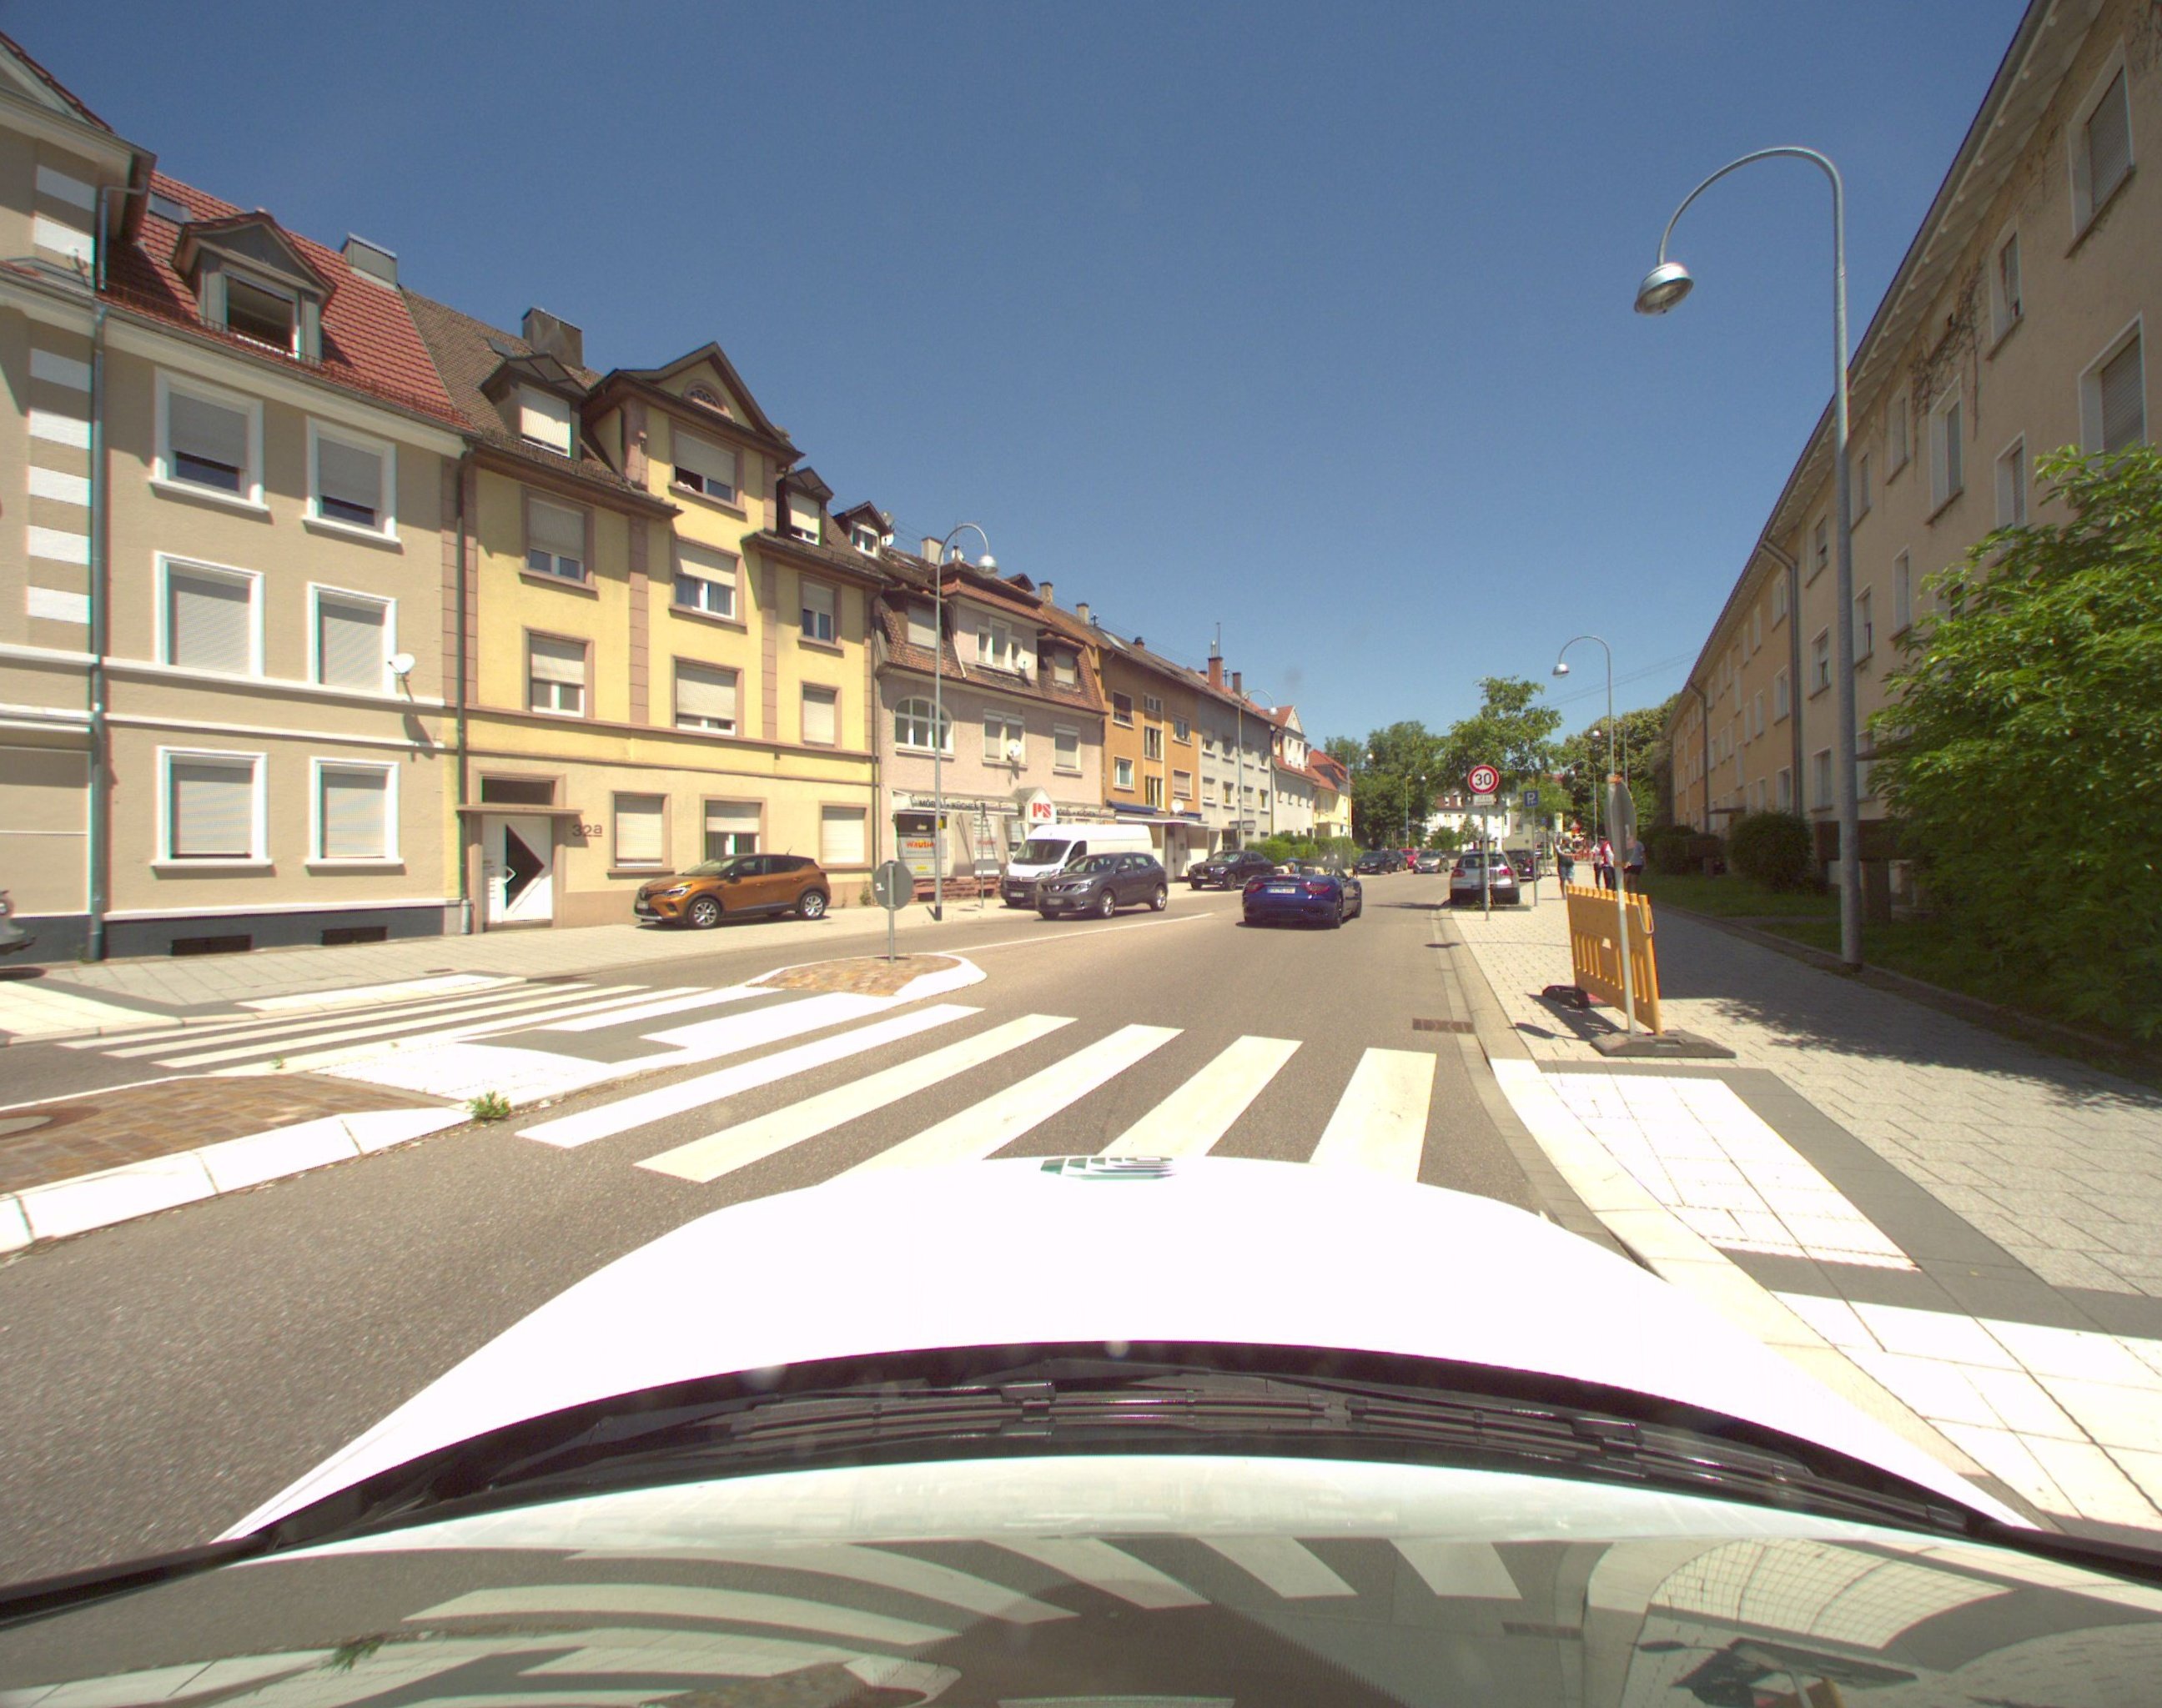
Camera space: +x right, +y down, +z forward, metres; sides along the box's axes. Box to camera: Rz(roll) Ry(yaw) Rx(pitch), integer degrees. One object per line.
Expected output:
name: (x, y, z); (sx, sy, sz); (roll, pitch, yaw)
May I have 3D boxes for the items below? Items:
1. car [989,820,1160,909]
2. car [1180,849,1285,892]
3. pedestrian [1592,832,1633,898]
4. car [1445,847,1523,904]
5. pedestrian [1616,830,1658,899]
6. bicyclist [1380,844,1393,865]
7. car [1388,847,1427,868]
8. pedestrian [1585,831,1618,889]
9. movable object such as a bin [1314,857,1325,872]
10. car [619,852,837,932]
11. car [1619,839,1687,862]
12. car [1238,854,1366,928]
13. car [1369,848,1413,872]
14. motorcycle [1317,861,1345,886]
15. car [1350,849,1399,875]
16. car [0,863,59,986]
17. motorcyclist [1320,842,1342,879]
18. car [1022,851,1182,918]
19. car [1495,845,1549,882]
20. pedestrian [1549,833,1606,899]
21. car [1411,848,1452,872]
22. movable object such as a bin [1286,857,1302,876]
car: (0.003, 0.243, 25.398); (2.098, 2.449, 6.157); (1, 1, 35)
car: (6.497, 0.637, 34.559); (2.065, 1.614, 5.140); (1, 1, 41)
pedestrian: (15.140, 0.313, 23.216); (0.780, 1.811, 1.012); (-4, -2, 28)
car: (11.776, 0.607, 23.682); (1.796, 1.477, 4.534); (-2, -1, 28)
pedestrian: (14.632, 0.270, 21.456); (0.786, 1.778, 1.015); (-2, -1, 28)
bicyclist: (25.100, 0.037, 66.936); (0.774, 1.659, 0.840); (-2, -1, 30)
car: (24.823, 0.244, 61.823); (1.860, 1.479, 4.768); (2, 2, 32)
pedestrian: (16.946, 0.195, 26.534); (0.812, 1.853, 0.990); (-2, -1, 28)
movable object such as a bin: (15.322, 0.657, 52.294); (0.489, 0.912, 0.710); (-2, 0, 32)
car: (-7.770, 0.746, 18.282); (1.777, 1.541, 4.142); (0, 1, 36)
car: (46.443, -0.269, 66.209); (4.298, 1.838, 1.760); (1, 0, 24)
car: (4.877, 0.713, 17.506); (1.853, 1.342, 4.622); (0, 0, 25)
car: (21.669, 0.364, 56.769); (1.845, 1.461, 5.341); (1, 2, 32)
motorcycle: (10.507, 0.821, 34.190); (0.600, 1.000, 1.811); (-1, -1, 35)
car: (18.504, 0.474, 51.293); (1.770, 1.459, 4.224); (2, 2, 36)
car: (-15.321, 0.906, 8.980); (1.777, 1.503, 4.978); (0, 1, 37)
motorcyclist: (10.505, 0.256, 34.224); (0.595, 1.524, 0.901); (-1, -1, 34)
car: (0.642, 0.716, 20.424); (1.778, 1.489, 4.418); (-4, -2, 36)
car: (20.555, 0.403, 37.841); (1.816, 1.504, 5.096); (-3, -1, 32)
pedestrian: (13.767, 0.340, 22.623); (1.160, 1.733, 1.198); (-4, -2, 27)
car: (22.362, 0.368, 51.933); (1.714, 1.411, 4.026); (-3, -1, 32)
movable object such as a bin: (12.011, 0.691, 45.926); (0.666, 1.048, 0.656); (-2, -1, 32)
